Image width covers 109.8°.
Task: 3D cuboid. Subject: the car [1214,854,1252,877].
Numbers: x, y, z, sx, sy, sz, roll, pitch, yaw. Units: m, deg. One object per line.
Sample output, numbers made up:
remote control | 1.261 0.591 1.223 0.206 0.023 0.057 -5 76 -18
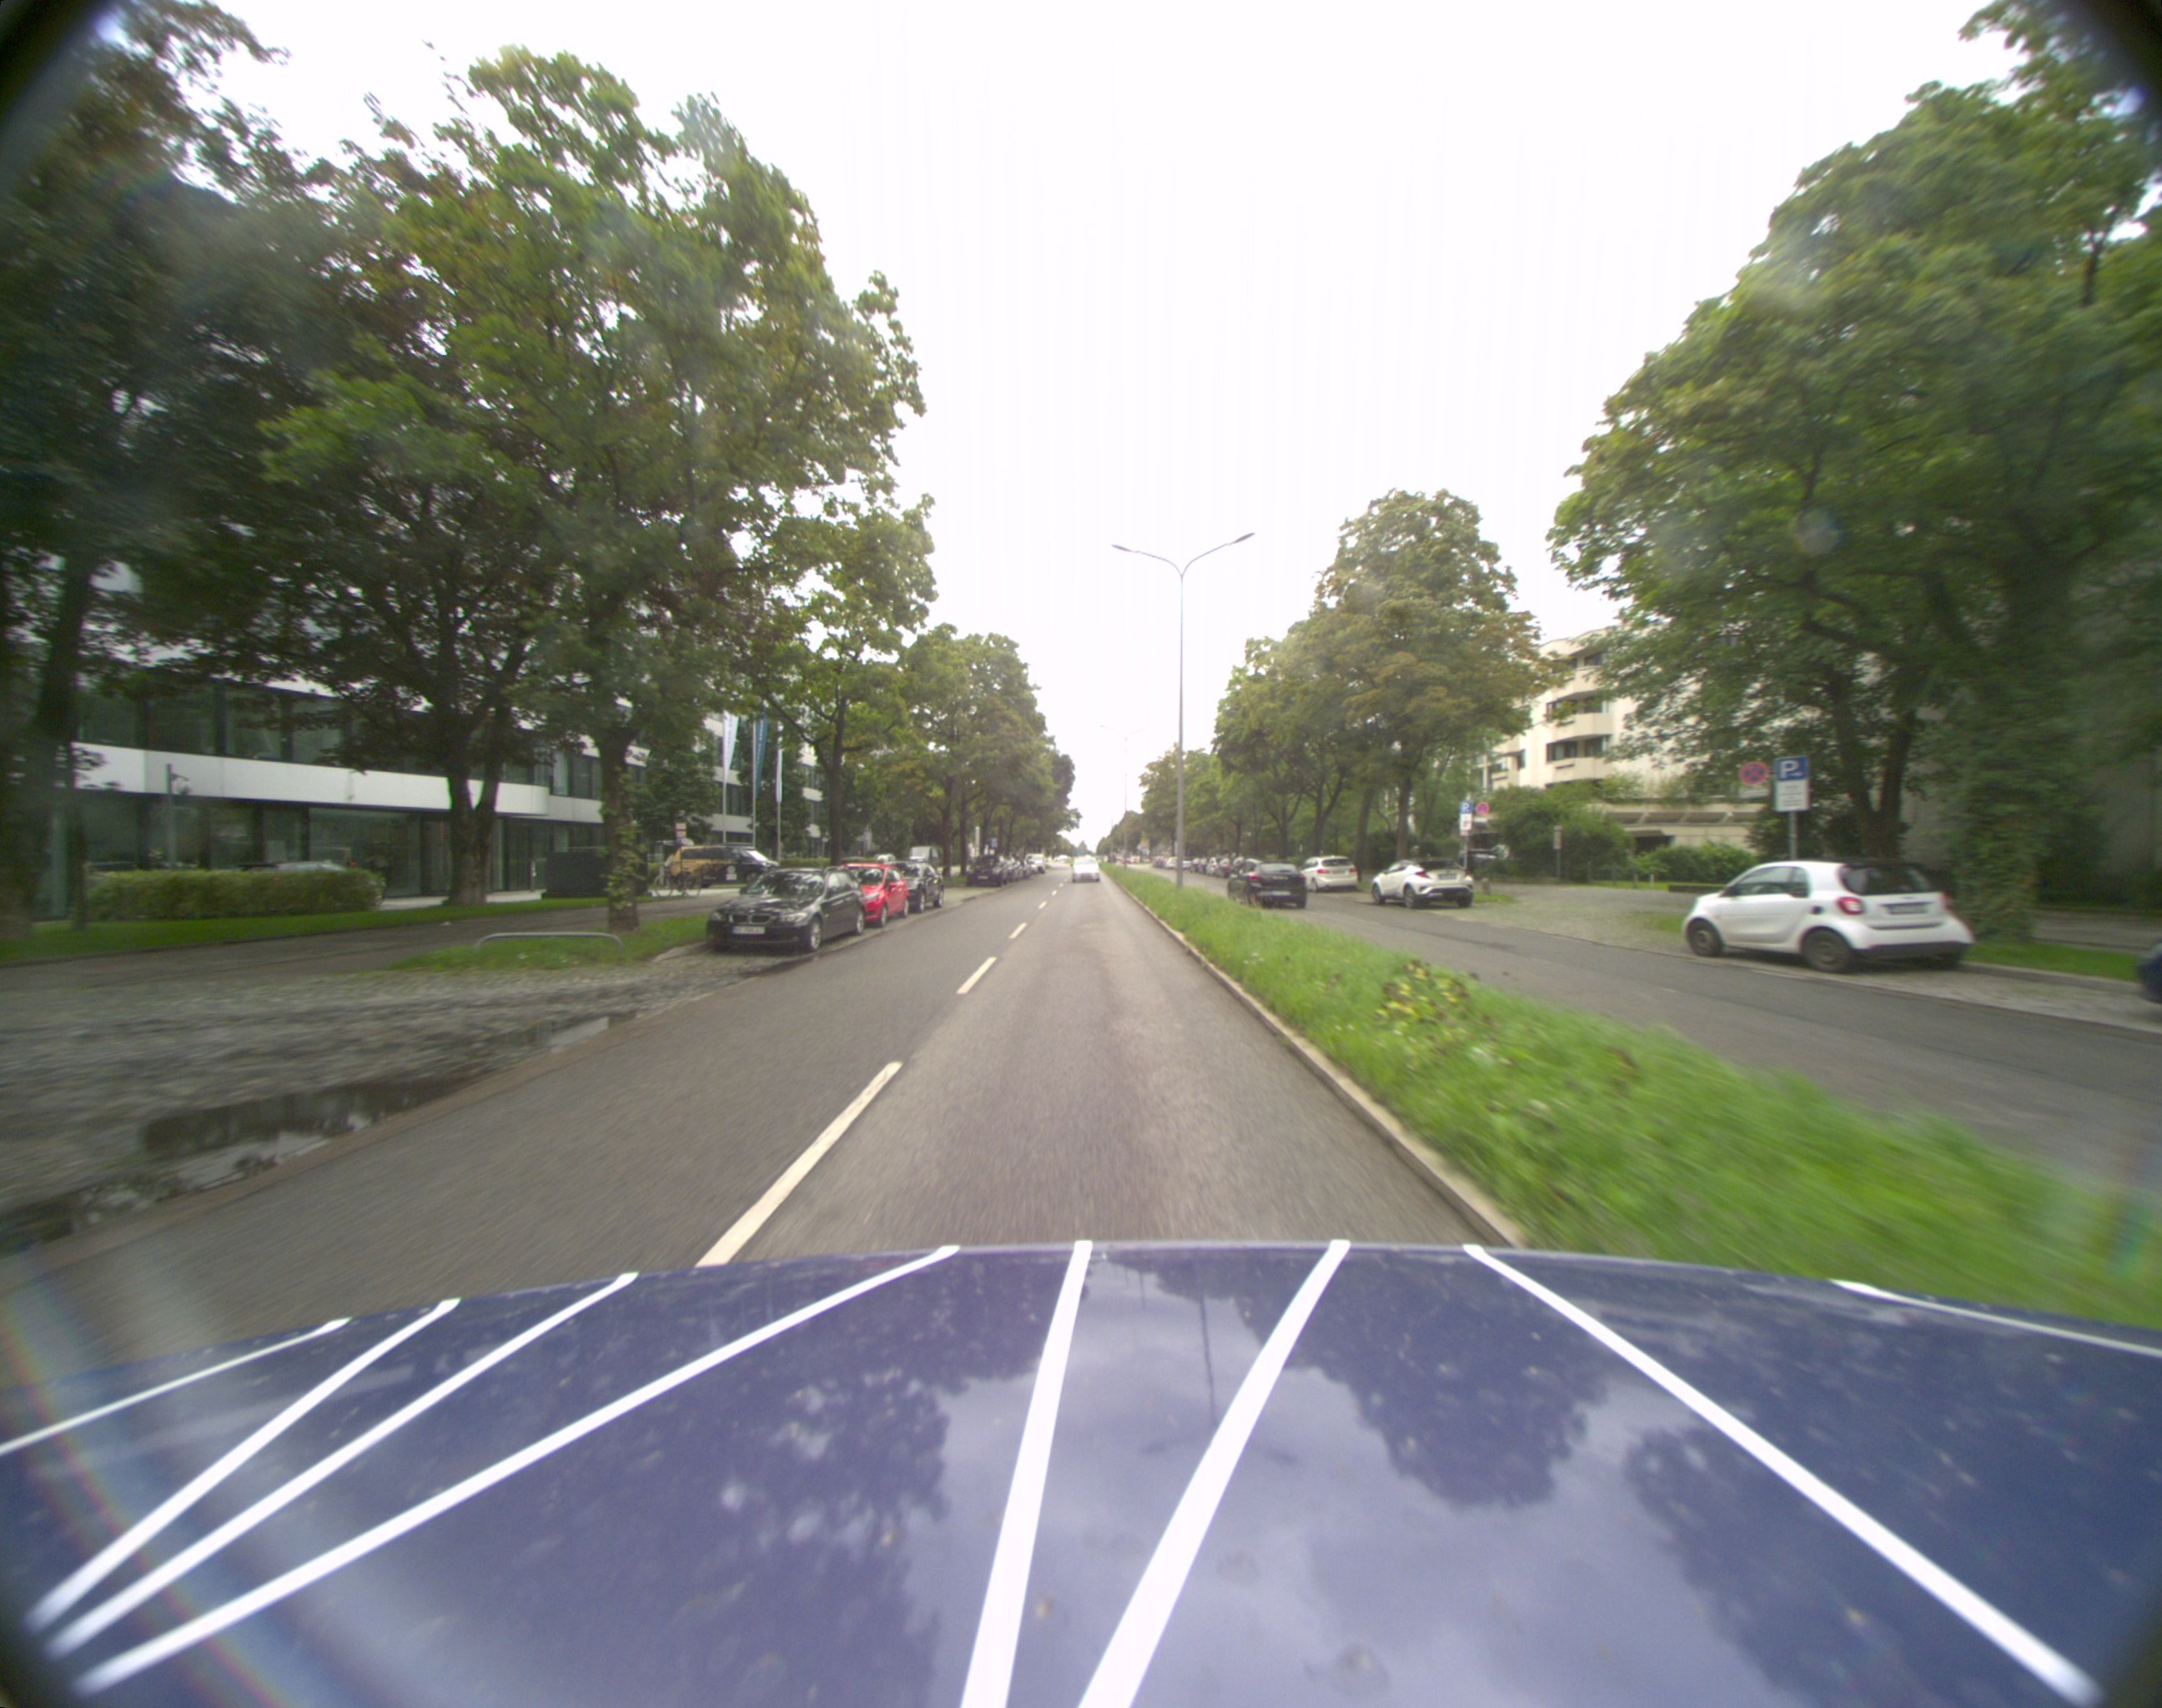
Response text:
car | 11.138 0.815 56.056 1.720 1.515 5.034 -3 0 0

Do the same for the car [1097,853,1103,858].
car | 6.100 0.474 250.338 1.962 1.471 4.259 0 0 1

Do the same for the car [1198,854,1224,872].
car | 11.292 0.757 66.120 1.629 1.415 4.192 -3 0 2

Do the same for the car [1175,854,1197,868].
car | 11.652 0.714 84.878 1.741 1.440 4.822 -3 0 0

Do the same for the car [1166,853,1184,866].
car | 11.697 0.618 94.597 1.743 1.521 4.475 -2 0 1

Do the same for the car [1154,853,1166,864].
car | 12.057 0.712 115.975 1.651 1.605 3.819 -2 0 2

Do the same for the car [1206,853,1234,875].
car | 11.228 0.747 61.571 1.629 1.638 3.867 -3 0 1

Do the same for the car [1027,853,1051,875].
car | -4.277 0.955 77.748 1.992 2.145 5.555 0 0 1

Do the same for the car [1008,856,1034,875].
car | -4.754 0.903 60.452 1.706 1.413 4.121 0 0 1

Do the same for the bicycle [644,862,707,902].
bicycle | -12.753 0.861 23.995 0.750 1.176 2.246 0 0 1

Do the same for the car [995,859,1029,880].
car | -4.843 1.045 53.962 1.705 1.400 4.513 0 0 3

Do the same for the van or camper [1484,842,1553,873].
van or camper | 27.358 0.197 47.687 1.861 1.860 4.431 0 0 1

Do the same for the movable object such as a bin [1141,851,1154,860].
movable object such as a bin | 14.024 0.247 160.100 2.199 1.941 3.998 0 0 -5

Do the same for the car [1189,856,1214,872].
car | 11.325 0.901 71.371 1.584 1.415 4.362 -3 0 0

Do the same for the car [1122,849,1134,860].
car | 9.862 0.087 160.440 2.215 2.181 5.799 0 0 0

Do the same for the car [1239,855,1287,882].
car | 10.959 0.841 46.092 1.764 1.504 4.948 -3 0 1

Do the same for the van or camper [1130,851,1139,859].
van or camper | 13.632 0.336 193.582 1.809 1.956 5.210 0 0 0

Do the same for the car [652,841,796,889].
car | -16.066 0.471 34.390 5.484 2.071 2.147 0 0 0

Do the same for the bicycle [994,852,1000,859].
bicycle | -13.957 0.264 126.021 0.531 1.219 1.862 1 0 4

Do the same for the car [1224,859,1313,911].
car | 5.637 0.879 23.313 1.743 1.432 4.215 0 0 1

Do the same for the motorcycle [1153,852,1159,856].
motorcycle | 21.947 0.095 223.151 1.814 1.164 0.464 0 1 -4

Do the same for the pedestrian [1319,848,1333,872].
pedestrian | 17.073 0.397 52.986 0.850 1.646 0.609 0 1 6

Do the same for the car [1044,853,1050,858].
car | -10.957 0.409 246.000 1.590 1.495 3.734 0 0 1

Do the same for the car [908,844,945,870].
car | -14.311 0.220 70.555 2.271 2.293 6.267 0 0 -1

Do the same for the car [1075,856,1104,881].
car | 0.519 0.851 45.712 1.679 1.433 3.734 0 0 1

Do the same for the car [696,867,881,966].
car | -5.270 1.037 14.400 1.679 1.445 4.582 2 0 0

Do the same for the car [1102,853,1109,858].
car | 7.262 0.543 225.649 1.920 1.475 4.863 0 0 -2

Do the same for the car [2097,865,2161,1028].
car | 10.567 0.844 5.176 1.678 1.467 4.215 0 0 1

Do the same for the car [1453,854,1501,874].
car | 24.569 0.599 47.231 1.459 1.192 3.127 0 0 1

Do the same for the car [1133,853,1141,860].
car | 13.460 0.594 183.377 1.651 1.480 3.901 0 0 -1

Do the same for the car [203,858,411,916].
car | -22.751 0.898 22.607 2.023 1.539 4.048 0 0 0

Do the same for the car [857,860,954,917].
car | -5.256 0.965 23.333 1.783 1.502 4.285 2 0 3

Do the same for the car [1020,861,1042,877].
car | -4.672 1.349 71.420 1.706 1.389 4.233 0 0 1

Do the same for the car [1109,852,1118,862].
car | 7.114 0.669 167.299 1.785 2.017 4.818 0 0 0

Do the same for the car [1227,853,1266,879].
car | 11.021 0.750 50.844 1.689 1.587 4.210 -3 0 1

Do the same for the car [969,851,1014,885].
car | -4.914 0.740 42.401 1.897 1.789 4.861 0 0 0

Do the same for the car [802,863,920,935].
car | -5.297 1.010 18.825 1.679 1.492 4.021 2 0 0

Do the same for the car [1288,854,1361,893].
car | 10.795 0.817 34.019 1.761 1.585 4.489 -3 0 0

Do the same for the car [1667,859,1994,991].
car | 10.697 0.909 11.175 1.695 1.556 3.079 -3 0 -1

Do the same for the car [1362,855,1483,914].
car | 10.624 0.873 24.049 1.837 1.600 4.491 -3 0 1

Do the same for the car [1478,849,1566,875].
car | 25.178 0.430 43.458 3.987 1.409 1.862 0 0 -1

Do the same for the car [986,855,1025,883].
car | -4.764 0.929 48.438 1.817 1.666 4.800 0 0 3
